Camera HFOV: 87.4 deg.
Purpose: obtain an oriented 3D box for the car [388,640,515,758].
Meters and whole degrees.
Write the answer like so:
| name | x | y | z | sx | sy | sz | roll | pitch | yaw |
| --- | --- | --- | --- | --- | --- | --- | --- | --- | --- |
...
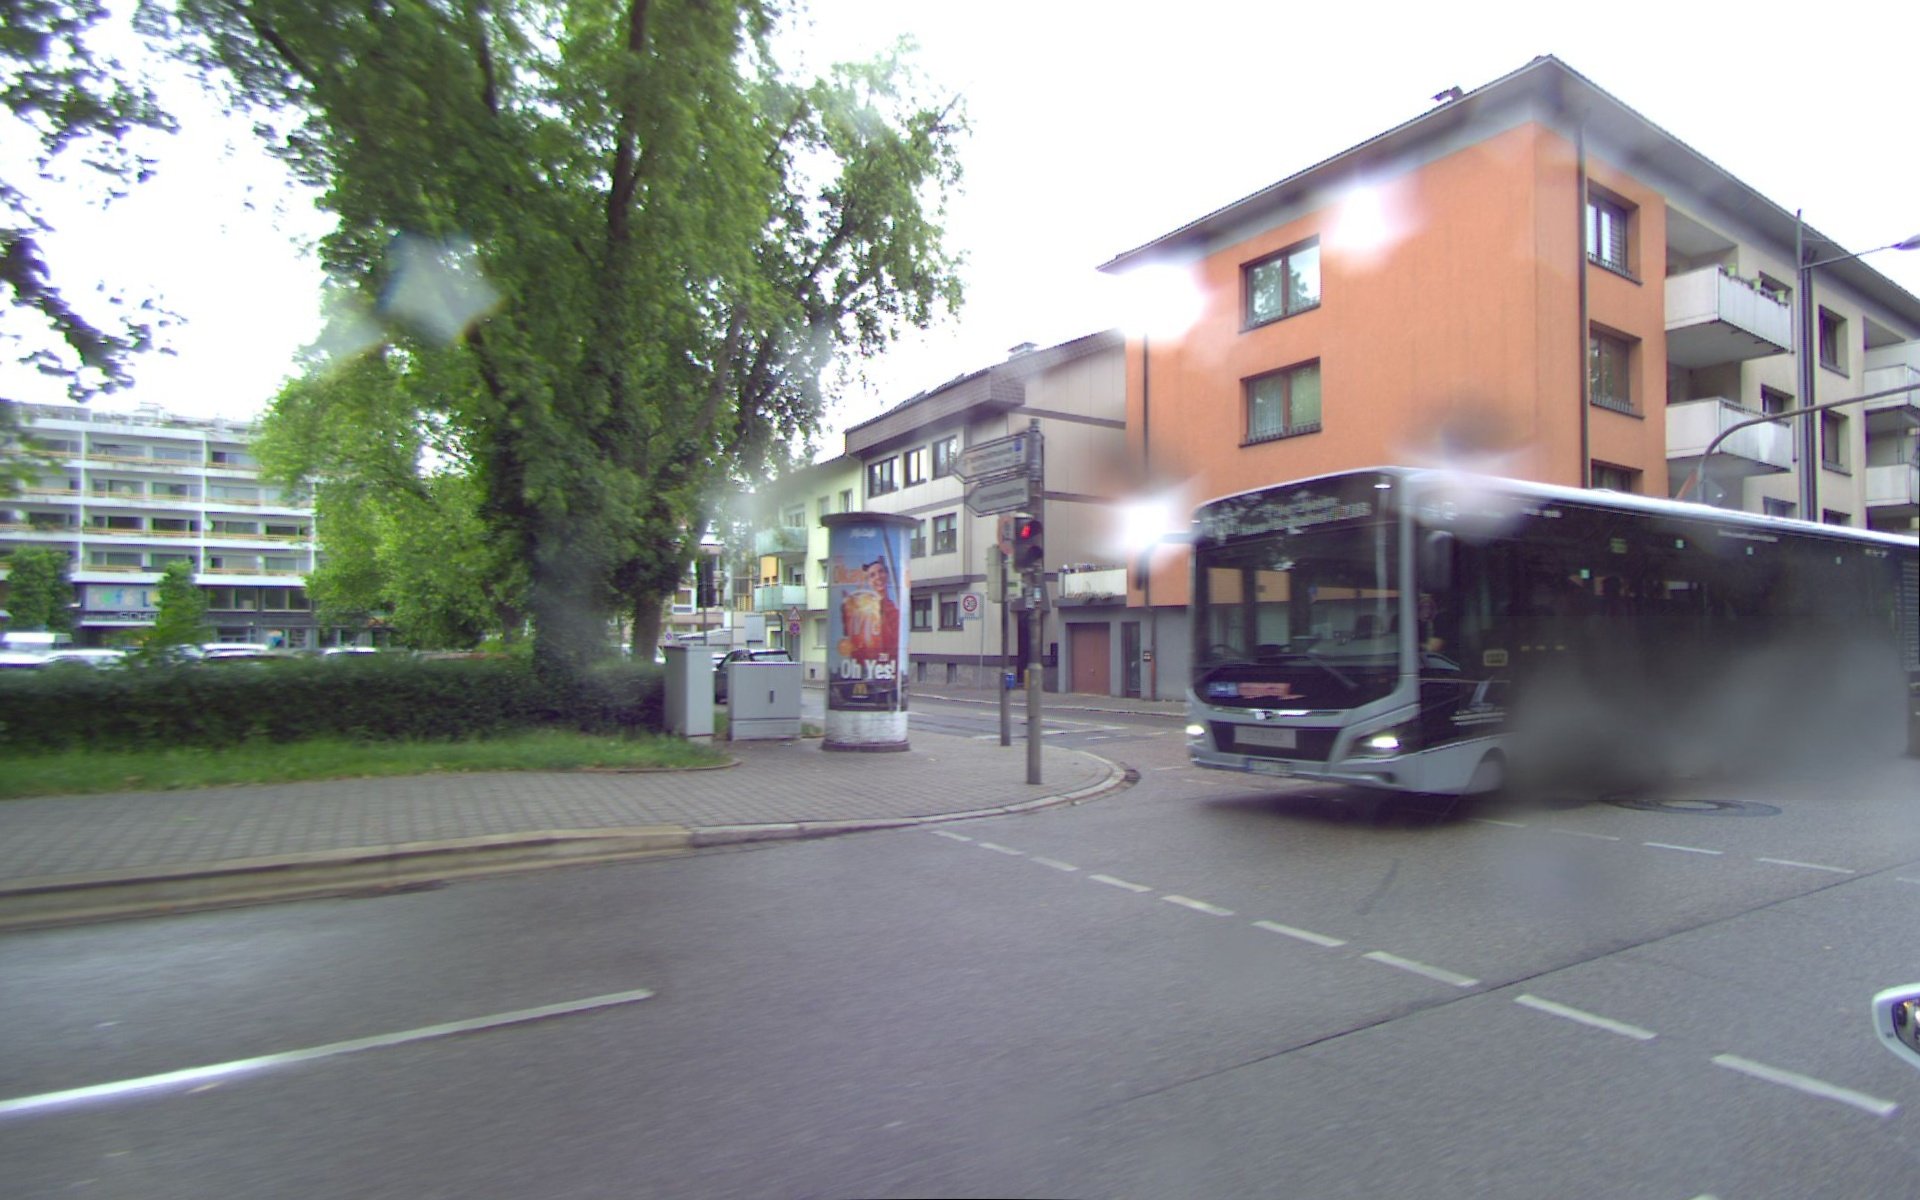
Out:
| name | x | y | z | sx | sy | sz | roll | pitch | yaw |
| --- | --- | --- | --- | --- | --- | --- | --- | --- | --- |
| car | -8.220 | 1.497 | 16.121 | 1.492 | 1.544 | 3.173 | 2 | -1 | -32 |

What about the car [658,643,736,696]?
| name | x | y | z | sx | sy | sz | roll | pitch | yaw |
| --- | --- | --- | --- | --- | --- | --- | --- | --- | --- |
| car | -9.275 | 2.409 | 35.197 | 1.726 | 1.718 | 3.899 | 2 | -4 | -29 |

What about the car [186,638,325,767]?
| name | x | y | z | sx | sy | sz | roll | pitch | yaw |
| --- | --- | --- | --- | --- | --- | --- | --- | --- | --- |
| car | -10.296 | 1.412 | 14.860 | 1.492 | 1.544 | 3.173 | 2 | -1 | -32 |

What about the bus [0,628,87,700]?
| name | x | y | z | sx | sy | sz | roll | pitch | yaw |
| --- | --- | --- | --- | --- | --- | --- | --- | --- | --- |
| bus | -23.040 | 1.576 | 25.004 | 1.363 | 1.698 | 2.779 | 2 | -3 | -29 |

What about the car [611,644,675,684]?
| name | x | y | z | sx | sy | sz | roll | pitch | yaw |
| --- | --- | --- | --- | --- | --- | --- | --- | --- | --- |
| car | -13.795 | 2.750 | 43.590 | 1.899 | 1.649 | 3.899 | 2 | -4 | -29 |

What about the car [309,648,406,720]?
| name | x | y | z | sx | sy | sz | roll | pitch | yaw |
| --- | --- | --- | --- | --- | --- | --- | --- | --- | --- |
| car | -14.487 | 1.942 | 24.070 | 1.799 | 1.535 | 3.964 | 2 | -3 | -33 |

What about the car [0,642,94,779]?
| name | x | y | z | sx | sy | sz | roll | pitch | yaw |
| --- | --- | --- | --- | --- | --- | --- | --- | --- | --- |
| car | -12.493 | 1.348 | 12.962 | 1.492 | 1.544 | 3.174 | 2 | -2 | -32 |

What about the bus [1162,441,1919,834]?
| name | x | y | z | sx | sy | sz | roll | pitch | yaw |
| --- | --- | --- | --- | --- | --- | --- | --- | --- | --- |
| bus | 7.694 | 0.495 | 11.923 | 11.647 | 3.013 | 2.753 | 2 | -3 | -31 |

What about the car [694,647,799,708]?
| name | x | y | z | sx | sy | sz | roll | pitch | yaw |
| --- | --- | --- | --- | --- | --- | --- | --- | --- | --- |
| car | -6.401 | 2.252 | 29.777 | 1.976 | 1.683 | 3.971 | 2 | -4 | -29 |

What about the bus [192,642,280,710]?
| name | x | y | z | sx | sy | sz | roll | pitch | yaw |
| --- | --- | --- | --- | --- | --- | --- | --- | --- | --- |
| bus | -16.526 | 1.703 | 23.036 | 1.365 | 1.451 | 2.776 | 2 | -3 | -31 |

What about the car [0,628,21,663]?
| name | x | y | z | sx | sy | sz | roll | pitch | yaw |
| --- | --- | --- | --- | --- | --- | --- | --- | --- | --- |
| car | -47.571 | 2.194 | 49.258 | 1.623 | 1.544 | 3.173 | 2 | 0 | -33 |

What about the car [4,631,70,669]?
| name | x | y | z | sx | sy | sz | roll | pitch | yaw |
| --- | --- | --- | --- | --- | --- | --- | --- | --- | --- |
| car | -41.809 | 2.247 | 45.544 | 1.623 | 1.544 | 3.173 | 2 | -1 | -33 |
